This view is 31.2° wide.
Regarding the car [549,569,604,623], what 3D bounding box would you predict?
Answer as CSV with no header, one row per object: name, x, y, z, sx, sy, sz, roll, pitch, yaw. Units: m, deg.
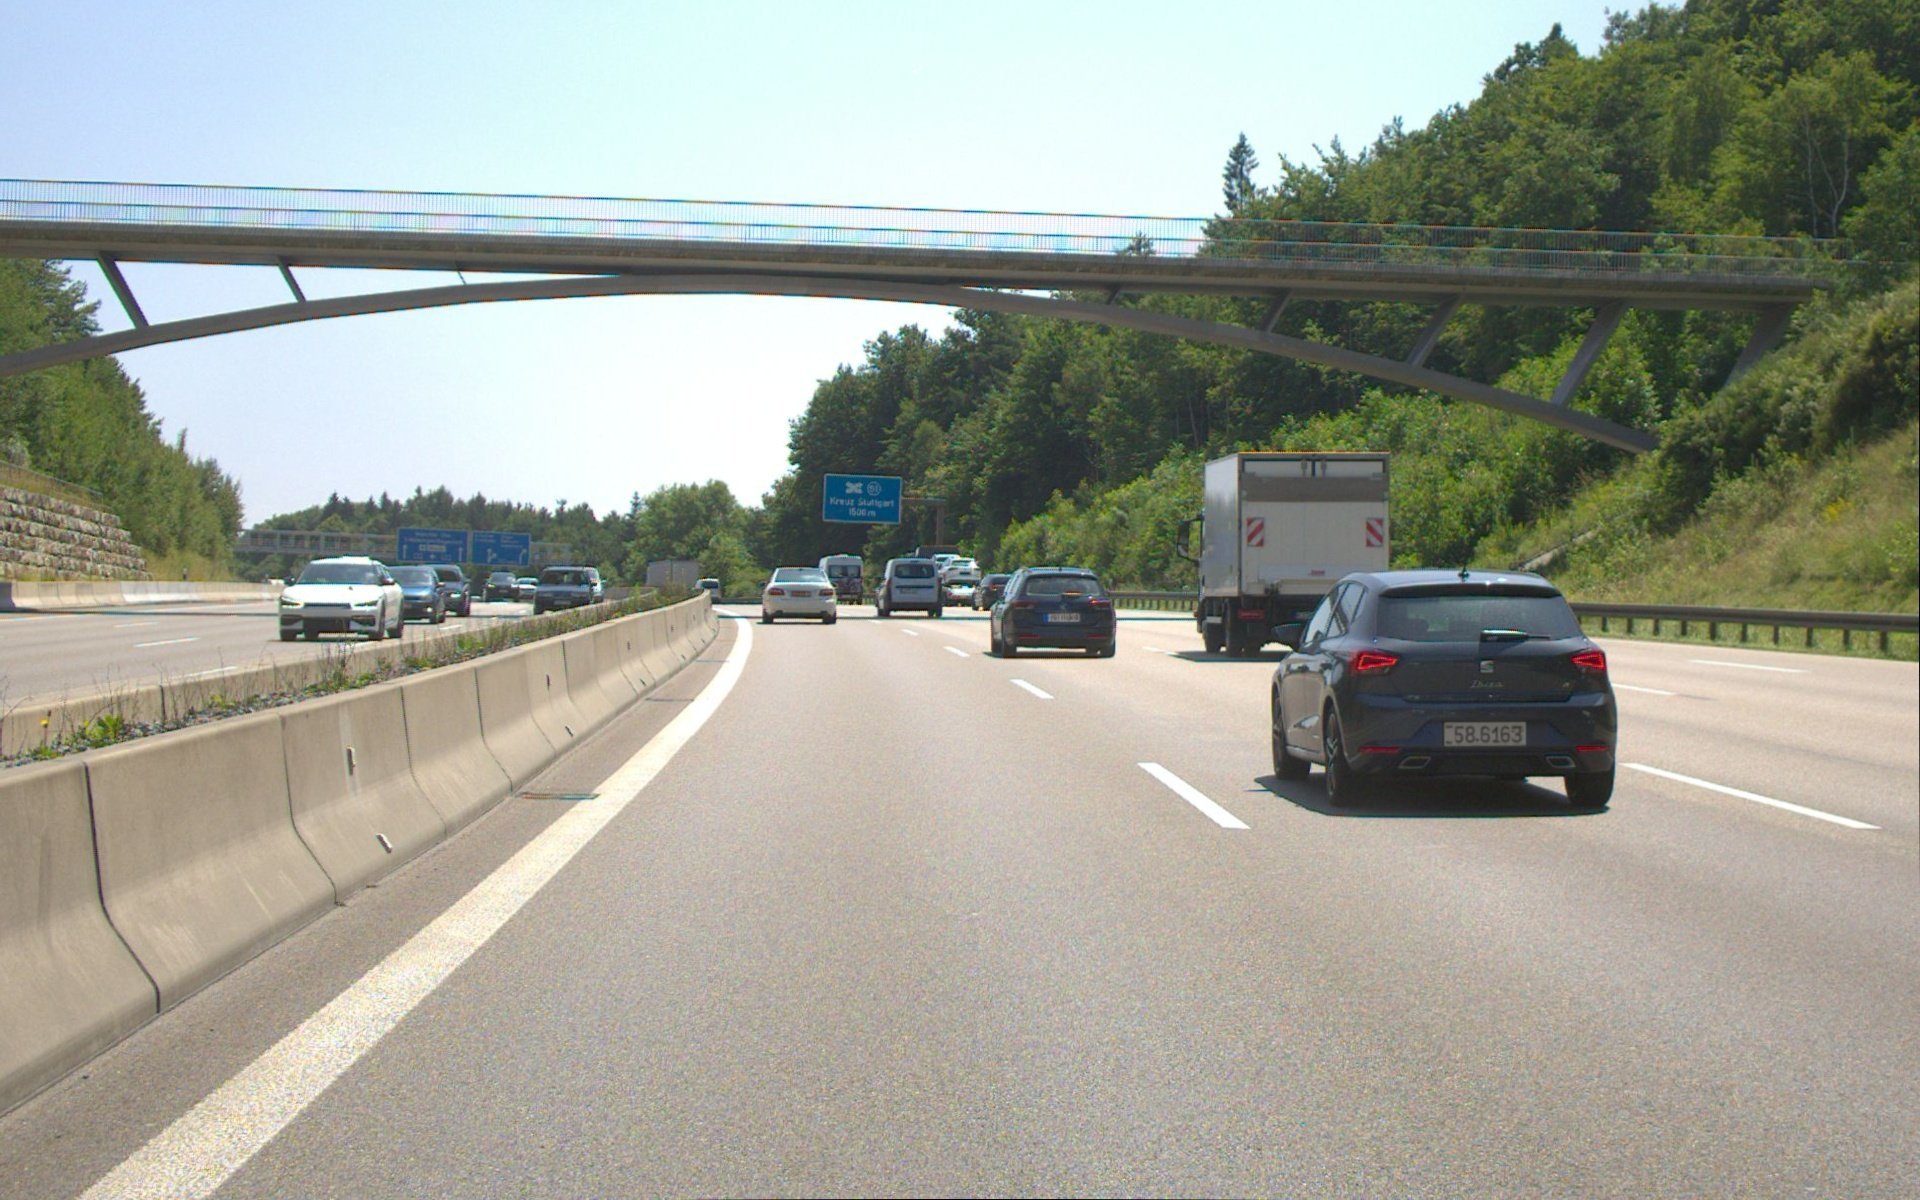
car,-14.909,-0.148,133.817,1.993,2.007,4.001,2,0,-5

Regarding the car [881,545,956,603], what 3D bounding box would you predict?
car,-1.315,-0.822,107.171,2.103,1.738,4.688,0,1,-3

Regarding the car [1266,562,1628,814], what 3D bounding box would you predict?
car,3.009,0.491,21.992,1.708,1.428,4.000,1,1,0

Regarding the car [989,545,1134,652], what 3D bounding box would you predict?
car,1.600,-0.056,55.770,1.993,1.628,4.760,0,1,-3

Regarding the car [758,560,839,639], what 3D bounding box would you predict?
car,-4.172,0.018,88.921,2.012,1.839,4.000,1,-2,-3

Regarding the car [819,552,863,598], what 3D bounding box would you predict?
car,-6.211,-1.274,179.239,2.265,2.363,4.702,0,0,-2

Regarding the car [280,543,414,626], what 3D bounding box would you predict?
car,-11.621,-0.319,65.458,1.900,1.491,4.806,0,1,-3

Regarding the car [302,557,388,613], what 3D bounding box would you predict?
car,-18.563,-0.469,103.866,1.993,1.612,4.000,0,1,-2

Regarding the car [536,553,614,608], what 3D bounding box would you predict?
car,-11.516,-0.606,102.915,1.993,1.612,4.000,0,1,-2

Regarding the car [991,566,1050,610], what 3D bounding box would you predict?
car,2.294,-0.460,131.399,1.993,1.587,4.000,2,0,-2

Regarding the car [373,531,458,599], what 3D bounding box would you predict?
car,-13.545,-0.897,85.677,1.653,1.545,4.001,2,2,-3

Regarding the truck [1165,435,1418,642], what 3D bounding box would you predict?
truck,5.303,-1.007,56.459,2.985,3.156,7.576,0,1,-3
